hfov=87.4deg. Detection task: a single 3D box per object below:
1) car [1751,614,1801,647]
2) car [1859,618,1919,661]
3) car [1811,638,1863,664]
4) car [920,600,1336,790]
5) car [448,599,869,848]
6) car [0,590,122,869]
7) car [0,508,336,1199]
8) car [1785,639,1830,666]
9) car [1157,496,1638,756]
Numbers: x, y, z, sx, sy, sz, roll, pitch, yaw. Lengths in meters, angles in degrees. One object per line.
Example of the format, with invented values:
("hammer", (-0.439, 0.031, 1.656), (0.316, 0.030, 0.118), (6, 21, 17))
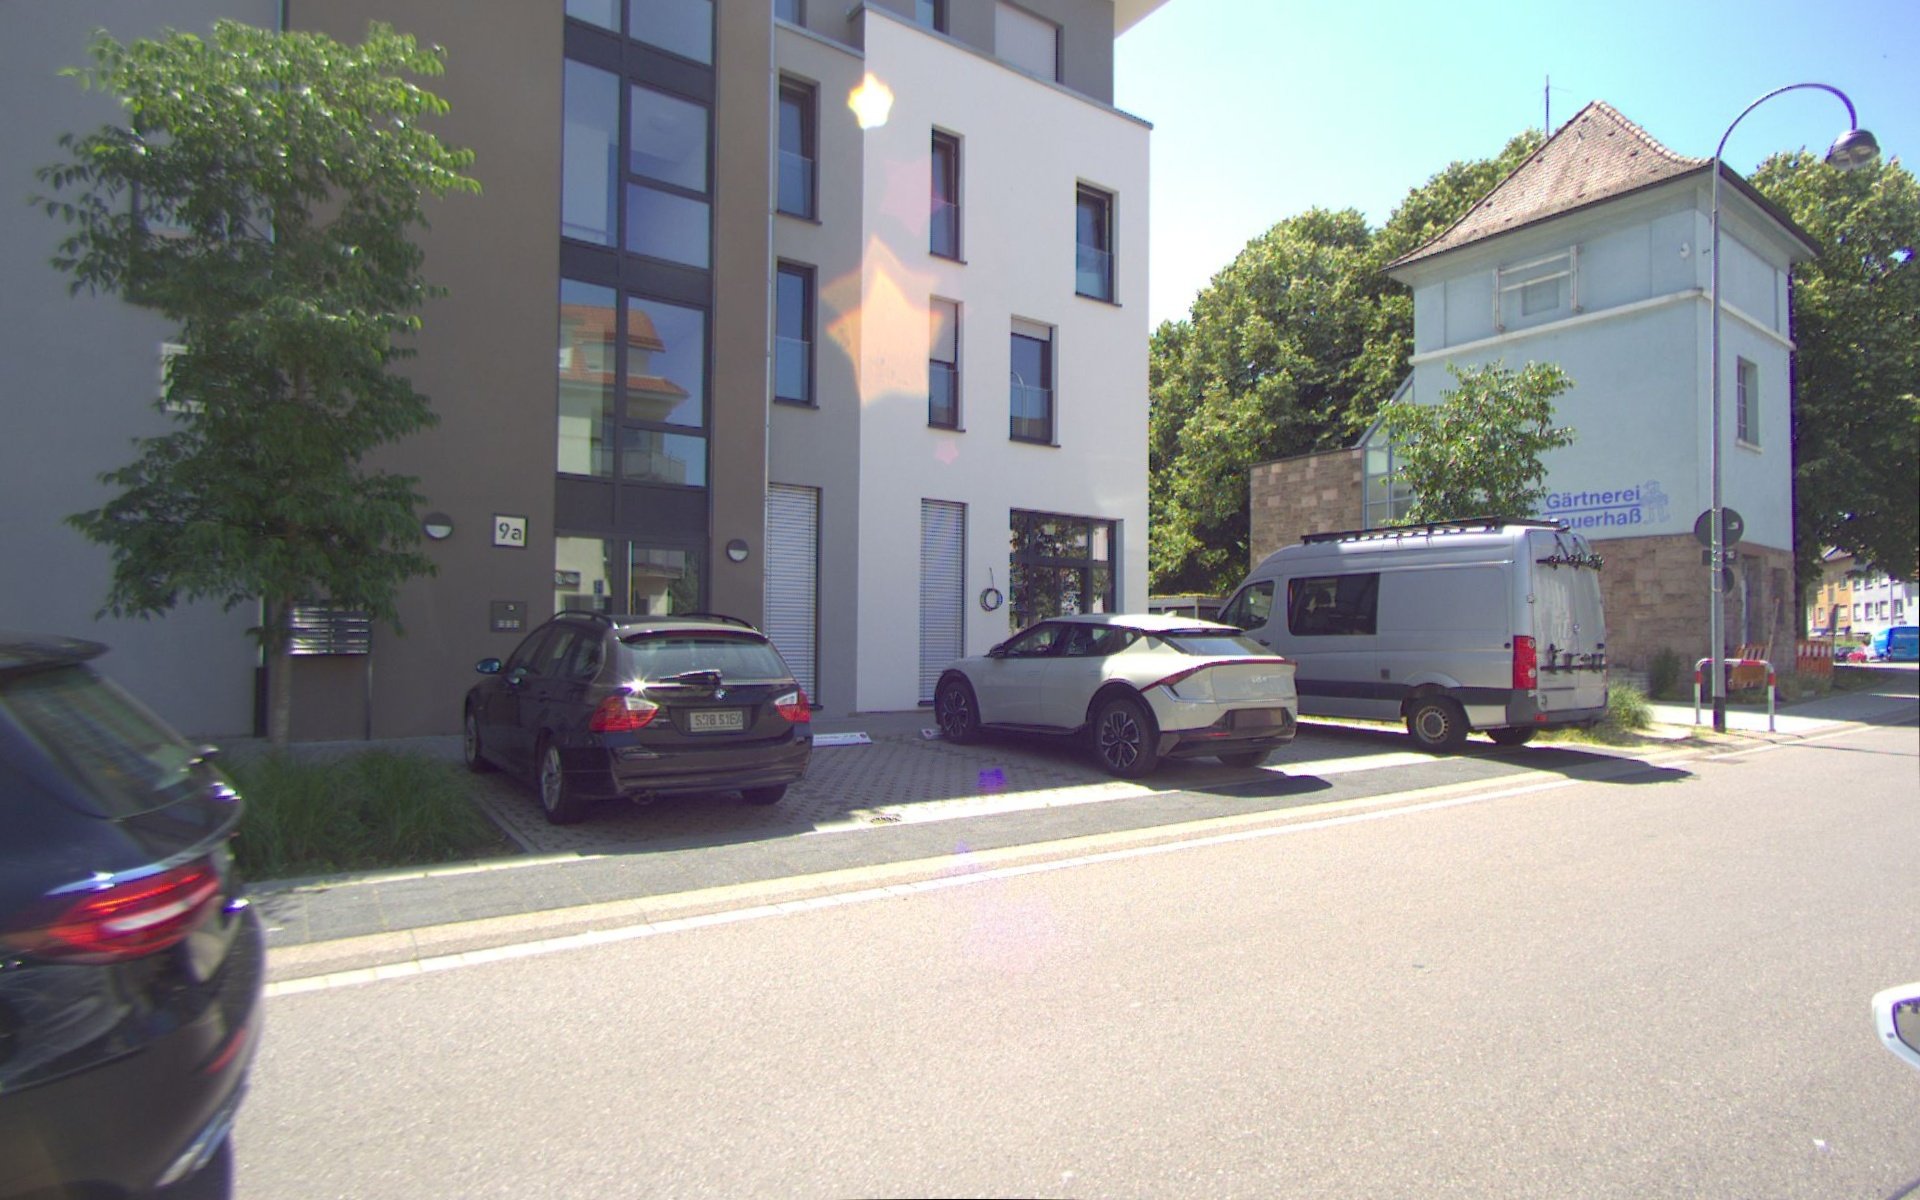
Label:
("car", (63.283, 2.353, 78.021), (2.212, 2.374, 4.844), (1, -1, 30))
("car", (58.446, 2.488, 63.043), (2.102, 2.574, 4.641), (-1, -3, 30))
("car", (63.846, 3.746, 73.170), (1.964, 1.768, 4.323), (0, -4, 29))
("car", (1.577, 0.843, 10.978), (1.980, 1.612, 4.426), (2, -1, -34))
("car", (-2.667, 0.756, 8.150), (1.869, 1.456, 4.167), (2, -1, -38))
("car", (-6.355, 0.640, 5.600), (1.978, 1.449, 4.010), (2, -1, -32))
("car", (-3.704, 0.601, 1.392), (4.750, 1.574, 1.881), (1, -1, -35))
("car", (67.945, 4.143, 80.580), (1.964, 2.040, 3.993), (0, -1, 29))
("car", (5.564, 0.318, 13.741), (2.267, 2.768, 5.733), (2, -1, -33))
